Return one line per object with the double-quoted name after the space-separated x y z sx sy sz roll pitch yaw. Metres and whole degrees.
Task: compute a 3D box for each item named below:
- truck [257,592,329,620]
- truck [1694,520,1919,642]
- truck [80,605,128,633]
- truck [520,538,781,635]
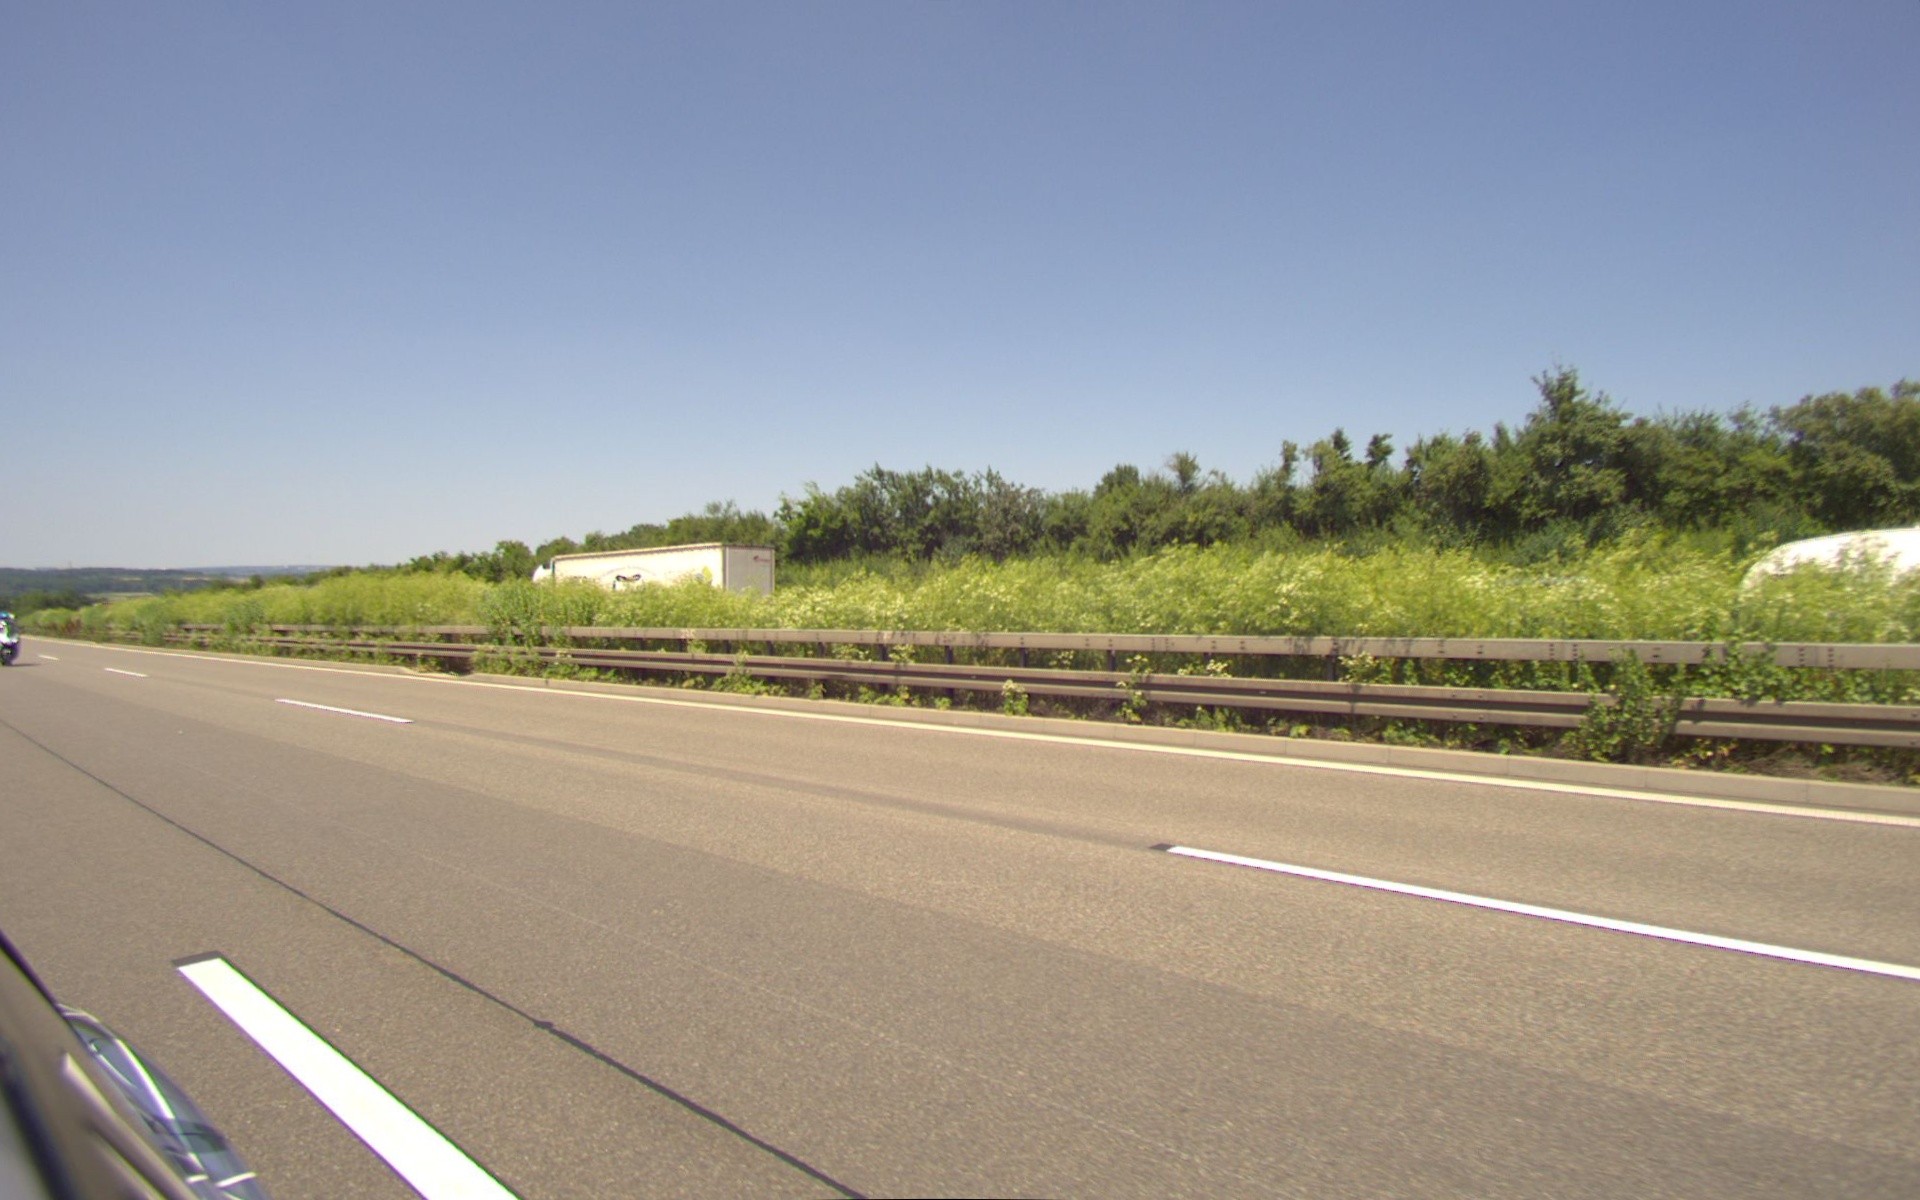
-55.070 0.547 83.411 9.856 2.029 2.624 -2 -2 43 "truck"
16.835 -0.317 17.621 6.395 2.029 1.973 -2 -2 41 "truck"
-126.221 2.839 149.047 18.531 3.638 3.195 -2 1 43 "truck"
-14.325 -0.285 44.995 16.830 3.576 2.776 -2 -3 42 "truck"
